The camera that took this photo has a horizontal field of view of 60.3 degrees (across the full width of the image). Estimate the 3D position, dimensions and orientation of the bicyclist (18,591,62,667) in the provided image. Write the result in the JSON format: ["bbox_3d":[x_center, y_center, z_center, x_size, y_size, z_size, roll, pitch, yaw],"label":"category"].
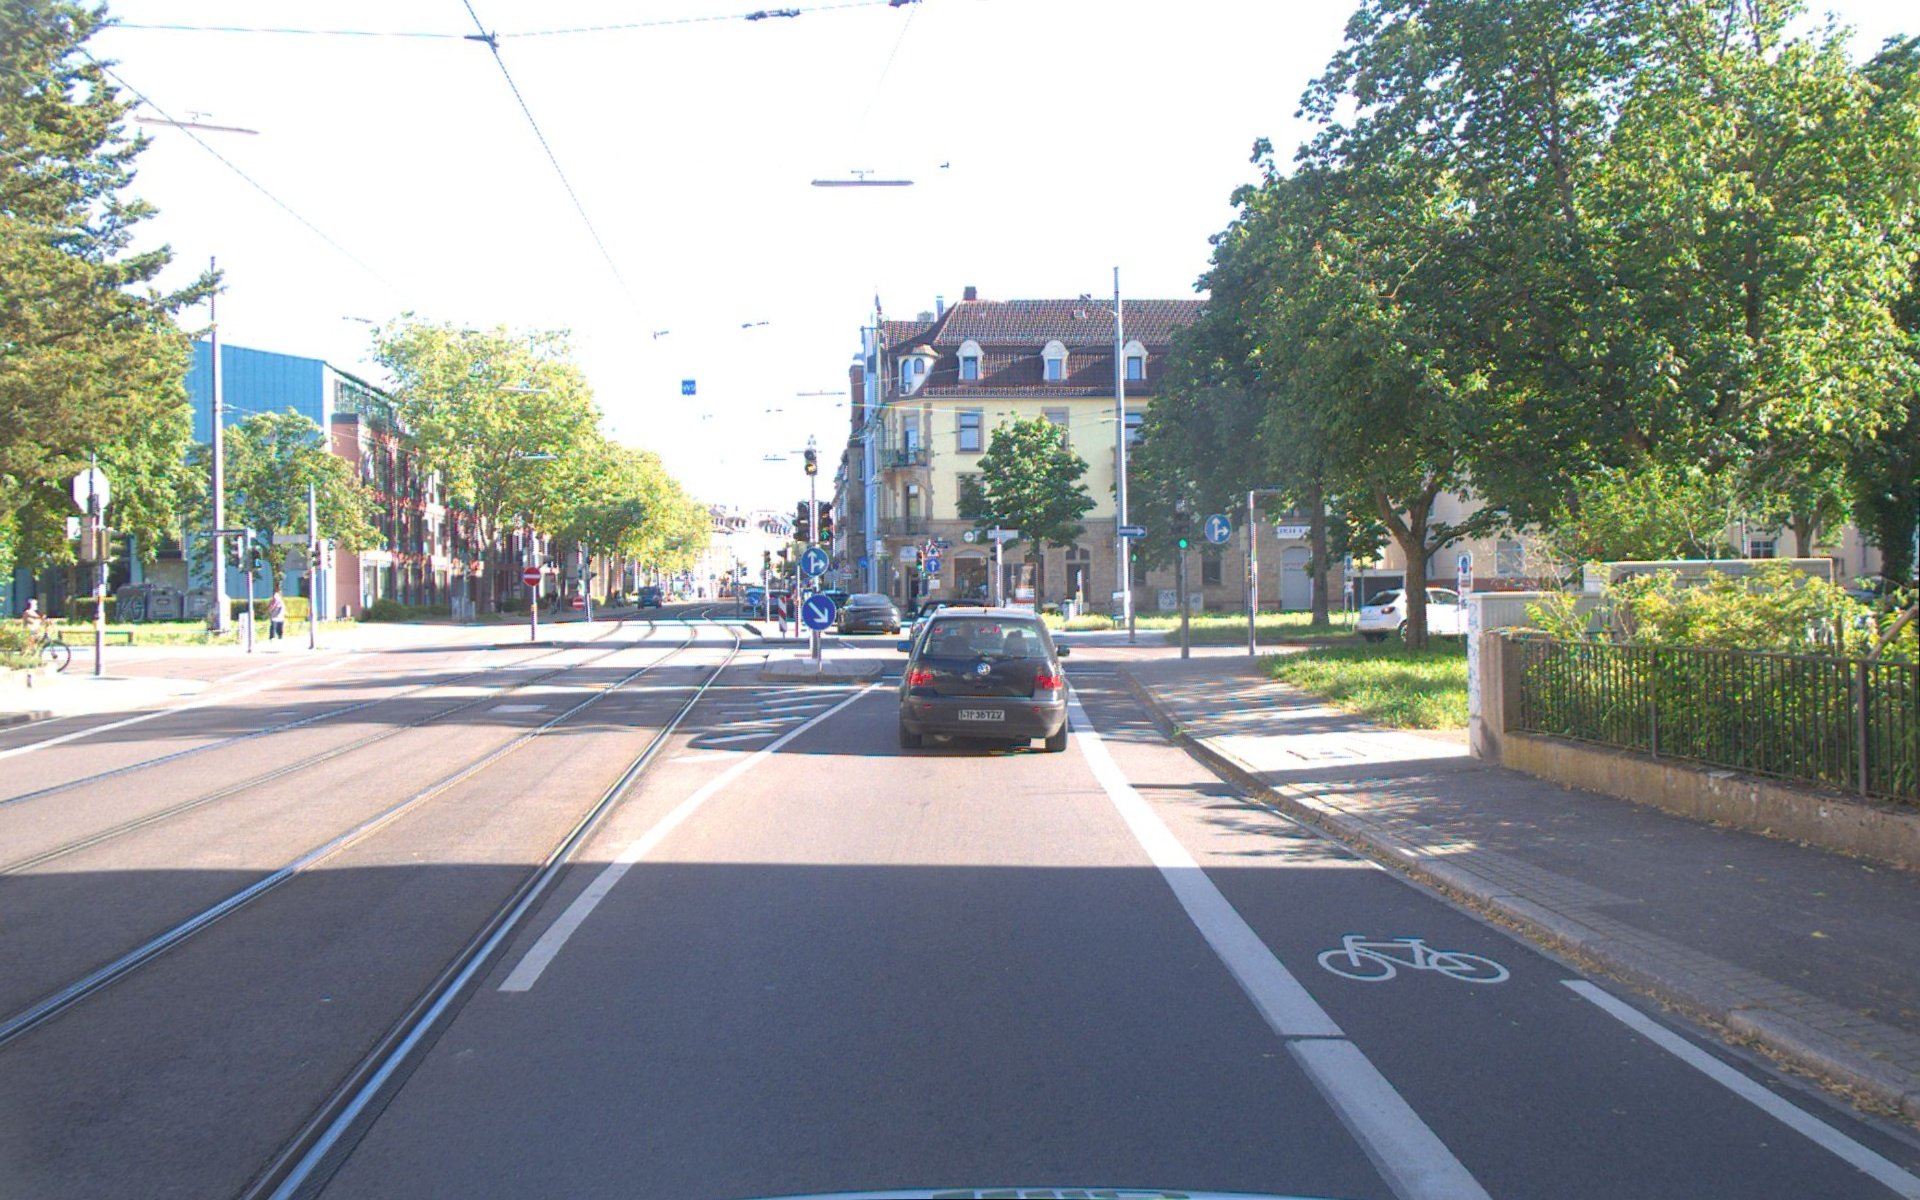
[{"bbox_3d":[-21.009,0.654,37.760,0.665,1.714,0.537,-1,0,1],"label":"bicyclist"}]

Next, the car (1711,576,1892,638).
[{"bbox_3d":[21.319,0.157,41.956,3.921,1.474,1.783,-1,0,-15],"label":"car"}]

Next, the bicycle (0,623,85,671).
[{"bbox_3d":[-21.088,1.073,37.759,1.905,1.033,0.538,-1,0,1],"label":"bicycle"}]

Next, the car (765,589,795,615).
[{"bbox_3d":[-10.742,0.092,98.523,1.649,1.479,3.373,-1,0,-8],"label":"car"}]

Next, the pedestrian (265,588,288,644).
[{"bbox_3d":[-21.618,0.496,52.325,0.601,1.719,0.728,2,0,-24],"label":"pedestrian"}]

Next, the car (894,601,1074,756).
[{"bbox_3d":[0.358,0.737,17.585,1.680,1.427,4.008,1,0,4],"label":"car"}]

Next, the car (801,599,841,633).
[{"bbox_3d":[-6.326,0.699,75.033,1.540,1.334,3.494,-1,3,-8],"label":"car"}]

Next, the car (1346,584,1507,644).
[{"bbox_3d":[12.064,0.339,42.778,3.743,1.466,1.734,-1,0,-22],"label":"car"}]

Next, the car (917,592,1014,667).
[{"bbox_3d":[0.055,0.560,33.602,1.603,1.396,3.753,-1,0,-5],"label":"car"}]

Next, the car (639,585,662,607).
[{"bbox_3d":[-27.231,-0.372,145.478,1.936,1.847,4.286,-1,0,-10],"label":"car"}]

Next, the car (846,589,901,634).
[{"bbox_3d":[-3.033,0.389,57.538,1.540,1.334,3.641,-1,3,-8],"label":"car"}]

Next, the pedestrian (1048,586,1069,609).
[{"bbox_3d":[5.114,-0.141,86.237,0.961,1.208,0.742,-1,0,-7],"label":"pedestrian"}]

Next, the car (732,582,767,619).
[{"bbox_3d":[-11.031,0.026,86.521,1.753,1.892,3.993,0,0,-8],"label":"car"}]
